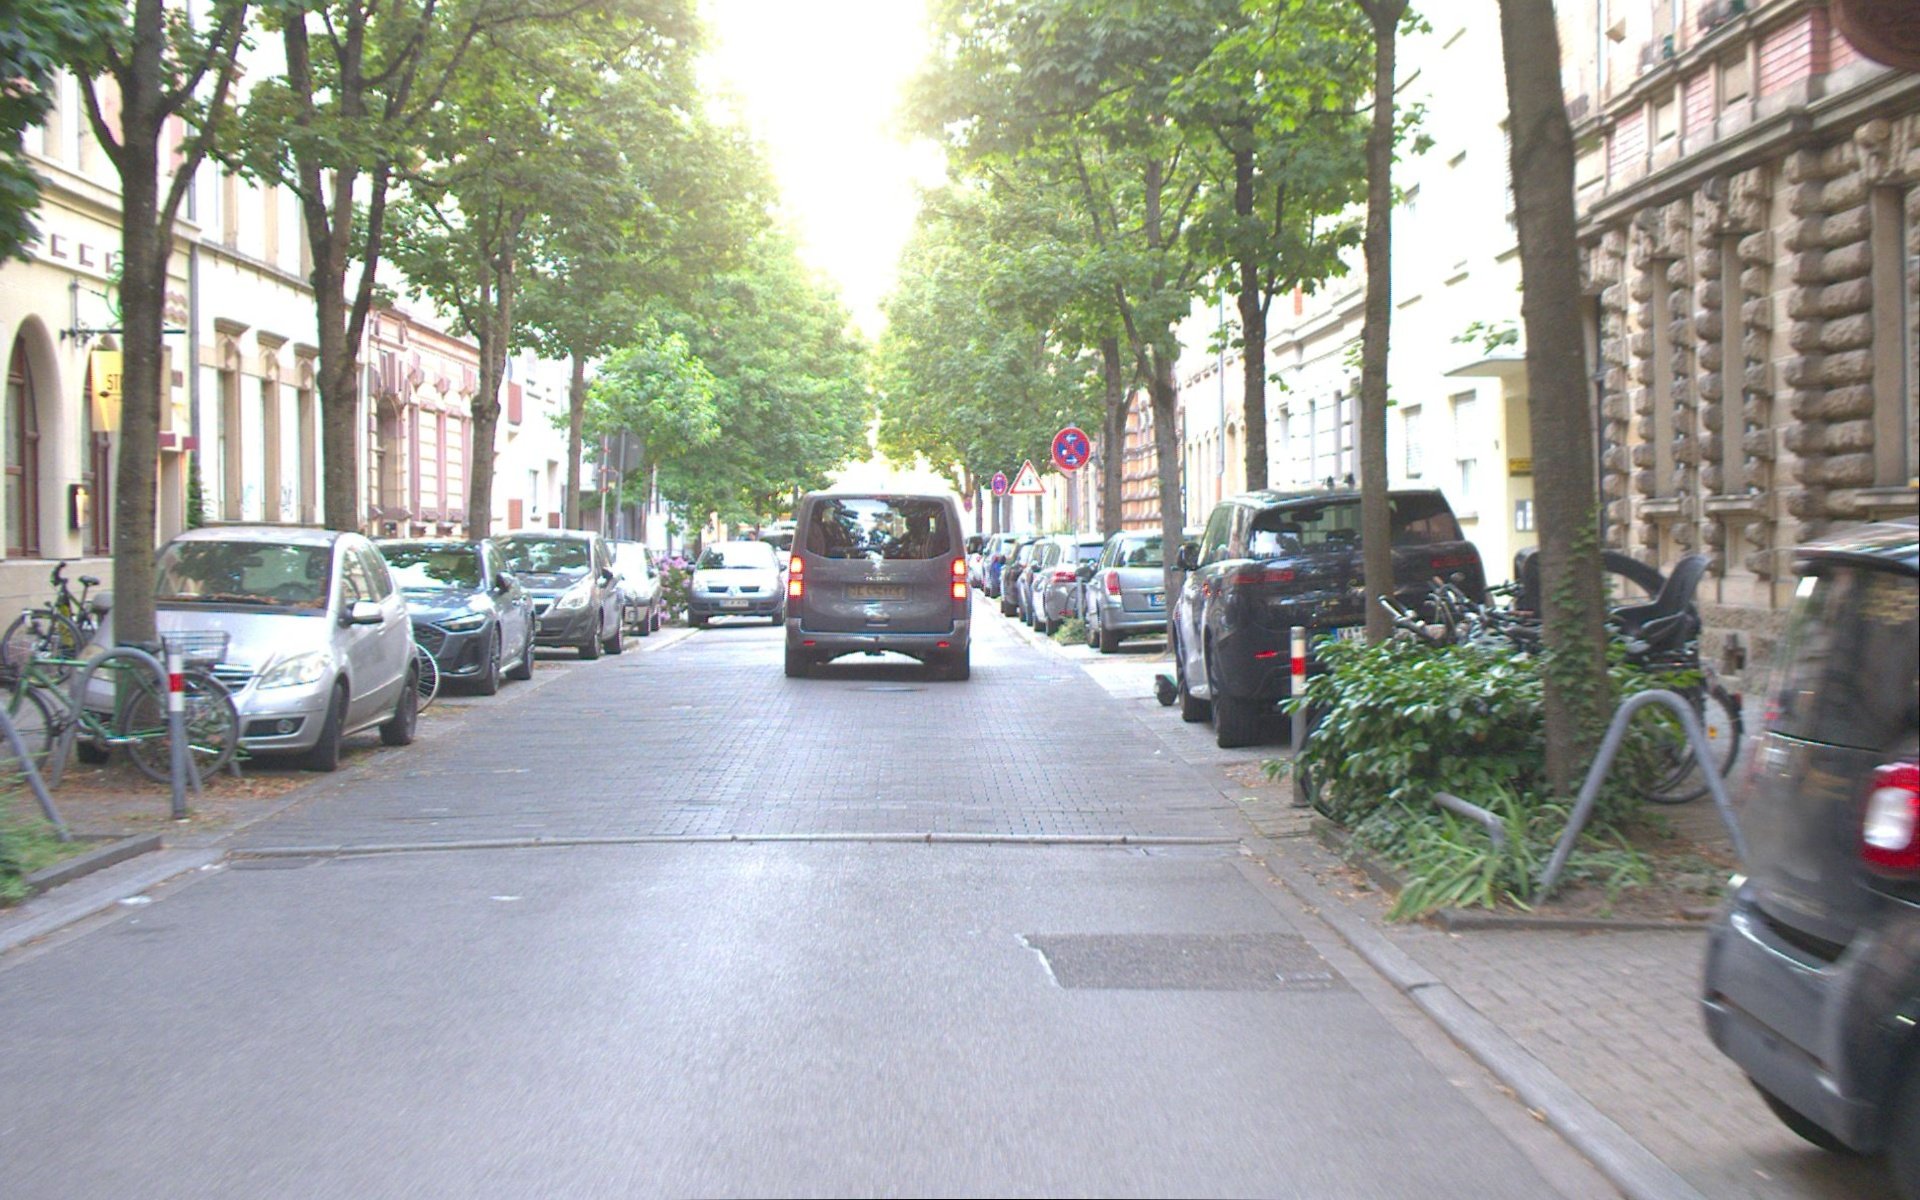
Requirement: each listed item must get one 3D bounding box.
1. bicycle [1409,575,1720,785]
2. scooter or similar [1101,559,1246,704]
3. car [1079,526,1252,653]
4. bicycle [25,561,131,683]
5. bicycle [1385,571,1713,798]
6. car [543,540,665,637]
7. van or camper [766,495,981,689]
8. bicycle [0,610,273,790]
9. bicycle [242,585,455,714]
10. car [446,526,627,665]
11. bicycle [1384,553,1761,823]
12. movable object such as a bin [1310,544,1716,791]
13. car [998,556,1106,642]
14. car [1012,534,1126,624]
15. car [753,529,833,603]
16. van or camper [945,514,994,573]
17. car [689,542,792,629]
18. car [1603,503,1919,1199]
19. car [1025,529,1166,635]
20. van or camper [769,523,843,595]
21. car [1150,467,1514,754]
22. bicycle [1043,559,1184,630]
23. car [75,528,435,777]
[{"bbox_3d":[3.394,0.445,19.388,1.658,1.140,0.582,-1,1,3],"label":"bicycle"},{"bbox_3d":[1.843,0.269,29.601,0.675,1.186,1.113,-2,0,39],"label":"scooter or similar"},{"bbox_3d":[2.503,-0.170,42.787,1.758,1.458,4.308,-1,1,-1],"label":"car"},{"bbox_3d":[-8.225,0.191,32.117,0.526,1.094,1.795,0,1,0],"label":"bicycle"},{"bbox_3d":[3.200,0.452,18.761,1.696,1.194,0.582,-1,1,3],"label":"bicycle"},{"bbox_3d":[-5.552,-0.210,53.923,1.587,1.432,3.566,1,1,-1],"label":"car"},{"bbox_3d":[-0.832,-0.114,35.669,2.035,1.891,4.271,0,1,1],"label":"van or camper"},{"bbox_3d":[-5.167,0.603,20.866,1.863,1.056,0.596,1,1,-19],"label":"bicycle"},{"bbox_3d":[-5.140,0.412,28.930,1.684,1.000,0.430,2,1,1],"label":"bicycle"},{"bbox_3d":[-5.168,-0.094,42.389,1.706,1.575,4.078,1,2,0],"label":"car"},{"bbox_3d":[3.176,0.444,17.944,1.761,1.289,0.802,-3,1,-1],"label":"bicycle"},{"bbox_3d":[3.233,0.385,20.257,2.216,1.301,0.771,-3,1,2],"label":"movable object such as a bin"},{"bbox_3d":[1.638,-0.043,62.578,1.766,1.410,4.474,-2,1,0],"label":"car"},{"bbox_3d":[1.803,-0.367,57.595,1.635,1.419,3.565,-1,1,-2],"label":"car"},{"bbox_3d":[-3.717,-0.767,76.011,1.663,1.558,4.001,-1,1,-4],"label":"car"},{"bbox_3d":[0.418,-2.538,154.189,1.993,2.590,5.425,0,1,-2],"label":"van or camper"},{"bbox_3d":[-3.710,-0.267,58.554,1.580,1.415,3.753,-1,1,-1],"label":"car"},{"bbox_3d":[3.024,0.535,7.541,2.797,1.594,1.801,-3,1,0],"label":"car"},{"bbox_3d":[2.009,-0.304,51.987,1.716,1.471,4.369,-2,1,-2],"label":"car"},{"bbox_3d":[-4.086,-1.101,91.269,1.876,1.836,4.753,-1,1,-2],"label":"van or camper"},{"bbox_3d":[2.621,0.019,25.372,2.013,1.827,4.811,-3,1,-1],"label":"car"},{"bbox_3d":[2.195,-0.084,49.091,1.915,0.978,0.638,-1,1,-22],"label":"bicycle"},{"bbox_3d":[-4.879,0.302,24.271,1.676,1.602,3.861,1,1,1],"label":"car"}]
